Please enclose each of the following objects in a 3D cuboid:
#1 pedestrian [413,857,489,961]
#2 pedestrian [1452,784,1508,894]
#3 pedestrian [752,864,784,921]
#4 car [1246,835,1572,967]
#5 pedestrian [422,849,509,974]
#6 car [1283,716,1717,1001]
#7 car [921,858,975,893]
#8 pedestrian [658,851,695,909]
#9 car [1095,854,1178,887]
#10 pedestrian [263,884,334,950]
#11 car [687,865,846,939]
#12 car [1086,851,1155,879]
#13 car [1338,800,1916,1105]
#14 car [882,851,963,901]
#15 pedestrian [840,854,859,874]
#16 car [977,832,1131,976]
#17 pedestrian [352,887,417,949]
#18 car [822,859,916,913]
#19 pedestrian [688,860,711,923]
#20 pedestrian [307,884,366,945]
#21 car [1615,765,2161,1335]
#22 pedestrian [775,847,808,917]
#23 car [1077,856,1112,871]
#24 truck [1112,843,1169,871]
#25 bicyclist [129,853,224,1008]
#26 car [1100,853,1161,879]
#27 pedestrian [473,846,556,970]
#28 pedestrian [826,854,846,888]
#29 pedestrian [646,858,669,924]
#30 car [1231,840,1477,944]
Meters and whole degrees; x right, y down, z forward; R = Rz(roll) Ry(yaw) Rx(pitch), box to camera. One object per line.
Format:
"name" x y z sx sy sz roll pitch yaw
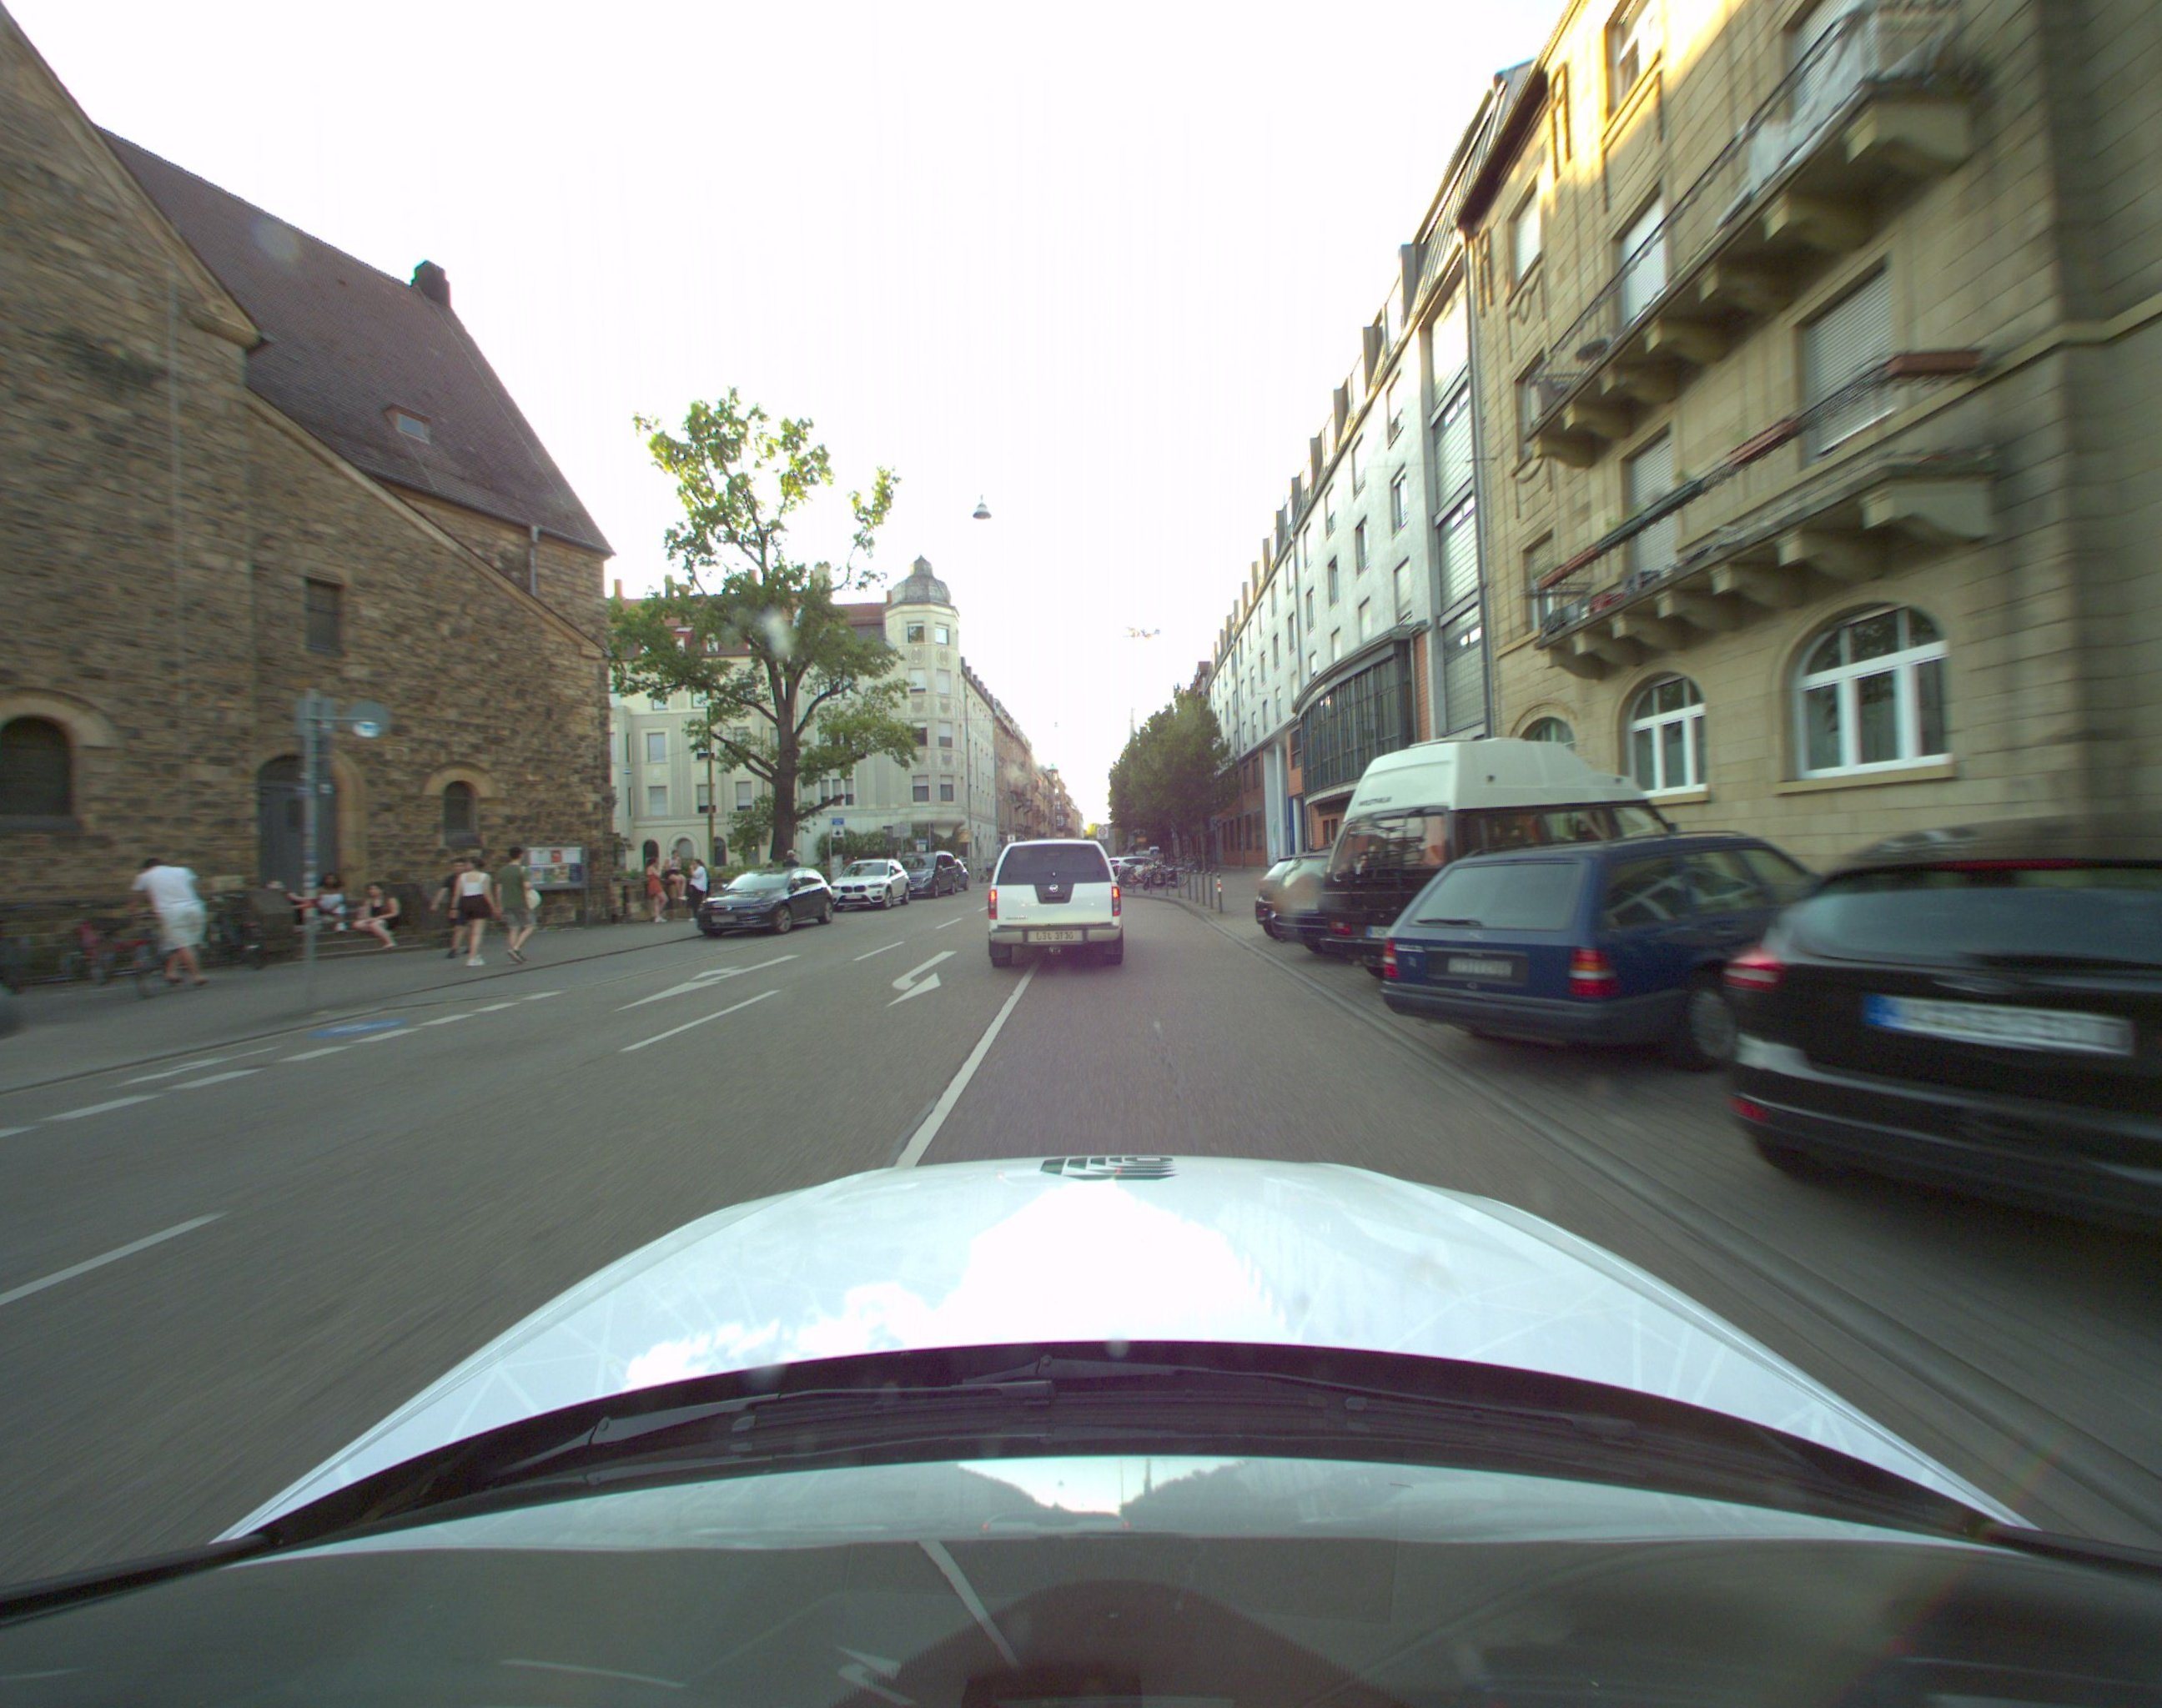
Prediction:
"pedestrian" -10.846 0.931 14.038 0.711 1.725 0.692 -2 -1 3
"pedestrian" 7.633 -0.286 15.622 0.604 2.013 0.858 3 0 3
"pedestrian" -8.847 1.082 23.035 0.580 1.552 0.839 -1 -1 -1
"car" 4.750 0.574 11.735 4.365 1.502 1.897 -2 -1 -26
"pedestrian" -9.578 0.870 12.715 0.571 1.856 0.988 -2 0 -1
"car" 4.804 -0.005 9.215 4.737 2.547 1.901 -2 -1 -28
"car" -6.348 0.992 39.294 1.633 1.555 4.008 -2 0 4
"pedestrian" -10.888 0.699 21.909 0.644 1.545 0.589 -2 -1 25
"car" 2.940 0.861 42.945 4.010 1.506 1.754 -2 -1 -28
"pedestrian" -13.288 1.057 13.852 0.741 1.048 0.515 -2 -1 -28
"car" -7.152 1.028 19.036 1.775 1.435 4.319 -2 0 3
"car" 2.466 0.670 50.772 4.011 1.537 1.620 -2 0 -29
"car" 4.312 0.496 6.292 4.411 1.486 1.826 -5 0 -29
"car" -6.523 0.853 34.165 1.985 1.866 5.294 -2 0 3
"pedestrian" -12.168 0.525 42.758 0.704 0.980 0.837 -2 -1 0
"car" -0.282 0.635 12.672 1.926 1.794 4.623 -1 0 1
"pedestrian" -12.571 1.153 14.706 0.512 1.056 0.703 -2 -1 19
"car" -6.916 0.984 27.047 1.865 1.592 4.468 -2 0 0
"pedestrian" -10.156 0.987 21.695 0.417 1.622 0.542 -1 -1 -38
"pedestrian" -13.326 1.076 14.579 0.493 1.048 0.611 -2 -1 22
"car" 4.556 0.465 3.557 4.130 1.546 1.779 -3 -3 -26
"pedestrian" -8.203 0.784 23.103 0.580 1.905 0.803 -2 -1 -1
"car" 1.730 1.143 102.827 4.172 1.780 1.823 -1 -1 7
"truck" 6.784 0.340 92.351 6.294 2.977 2.265 -1 -3 3
"bicyclist" -11.638 0.932 10.508 0.712 1.880 0.931 0 -1 -42
"car" 3.263 0.796 53.555 3.618 1.580 1.699 -2 -1 -31
"pedestrian" -8.965 0.829 12.923 0.645 1.879 0.891 -2 0 -1
"pedestrian" -12.872 0.895 42.796 0.704 1.721 0.837 -2 -1 0
"pedestrian" -11.065 0.962 21.265 0.417 1.674 0.542 -1 -1 -38
"car" 4.766 0.583 14.117 4.081 1.492 1.707 -2 0 -29
